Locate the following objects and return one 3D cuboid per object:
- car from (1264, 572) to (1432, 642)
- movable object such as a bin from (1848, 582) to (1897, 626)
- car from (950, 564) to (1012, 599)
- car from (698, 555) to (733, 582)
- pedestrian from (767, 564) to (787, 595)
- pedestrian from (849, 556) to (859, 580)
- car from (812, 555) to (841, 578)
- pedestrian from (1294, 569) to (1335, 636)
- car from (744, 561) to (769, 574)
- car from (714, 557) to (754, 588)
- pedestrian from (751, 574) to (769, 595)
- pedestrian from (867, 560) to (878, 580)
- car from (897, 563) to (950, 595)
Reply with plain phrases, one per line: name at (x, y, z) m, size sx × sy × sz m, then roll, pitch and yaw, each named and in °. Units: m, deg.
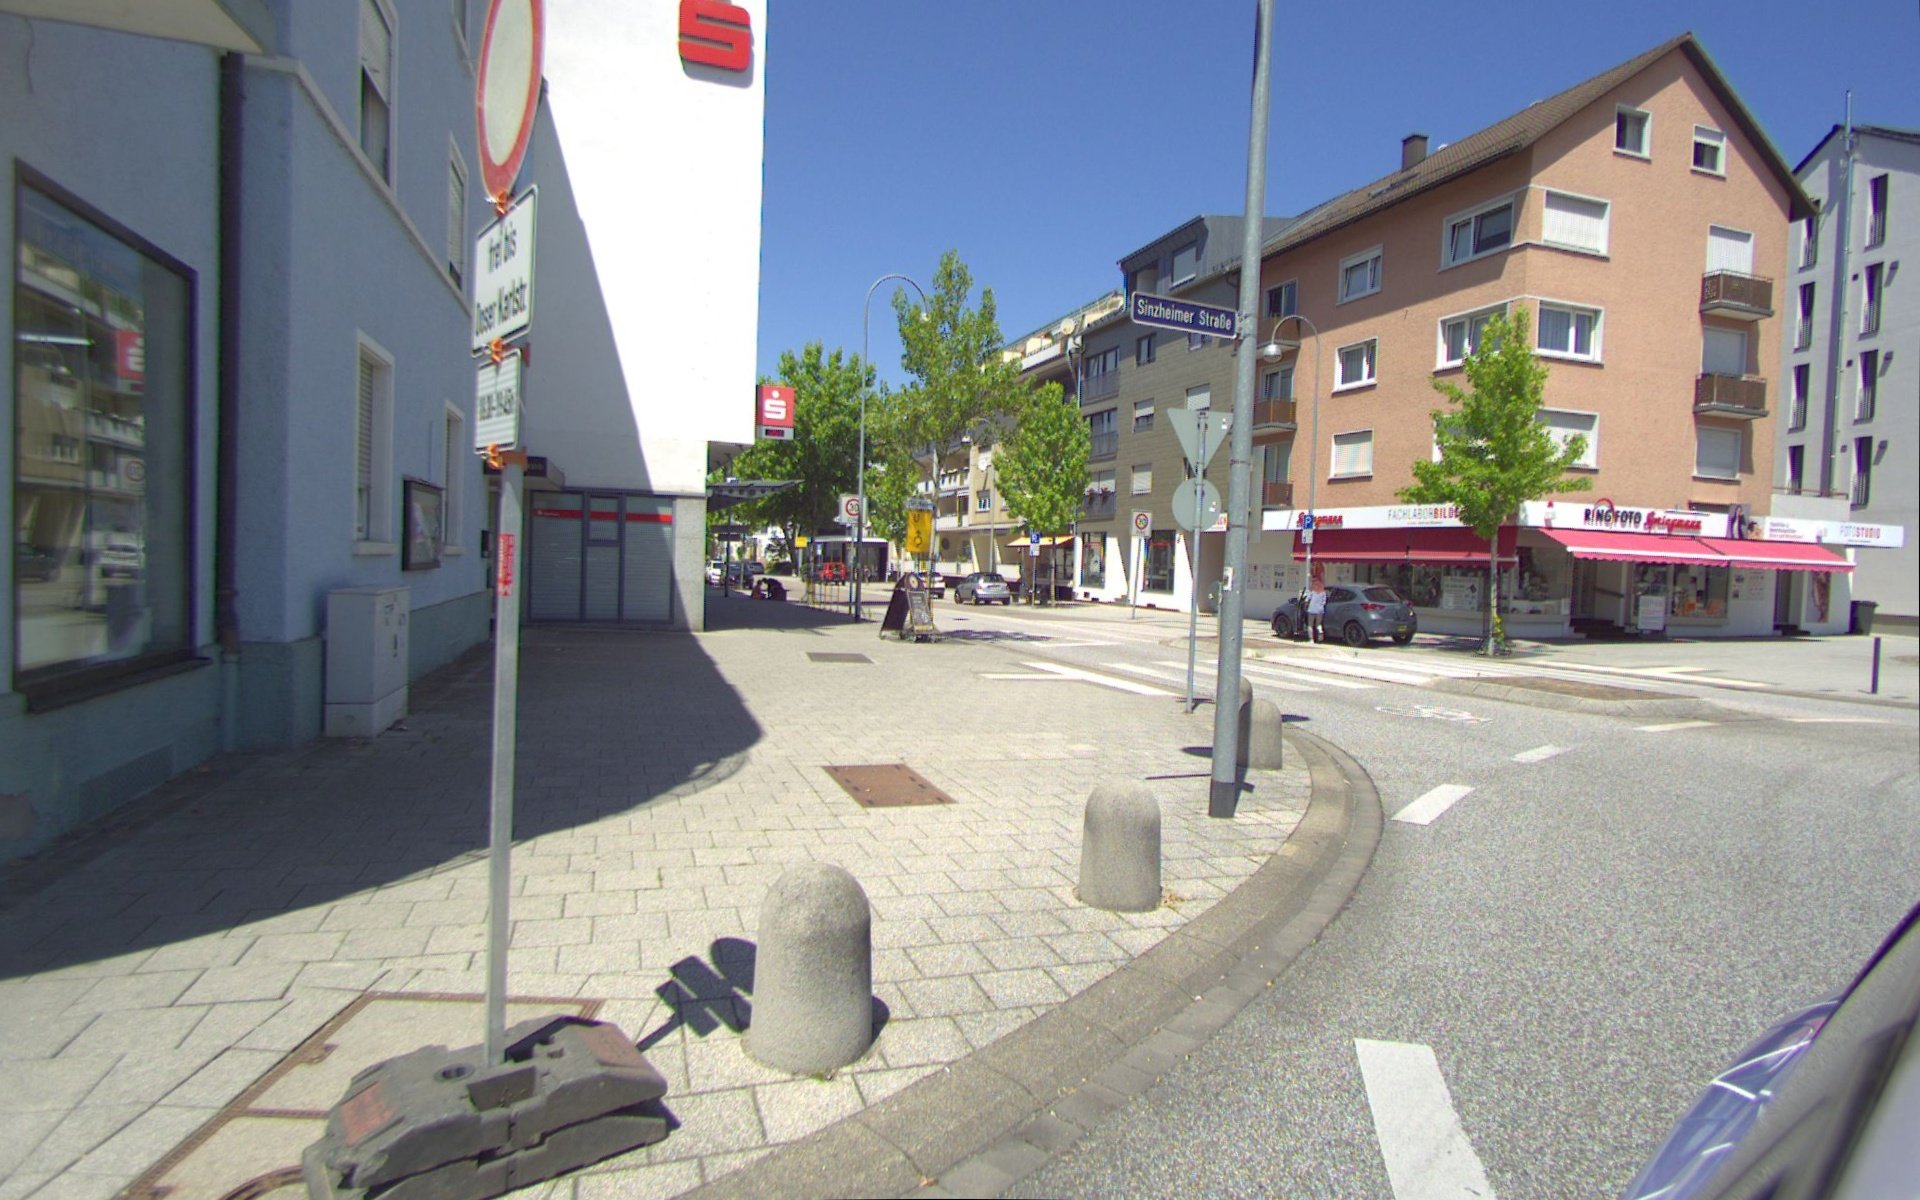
car at (9.719, 0.100, 25.682) m, size 1.638 × 1.504 × 4.070 m, roll -2°, pitch 3°, yaw -23°
movable object such as a bin at (27.622, 0.119, 30.639) m, size 0.819 × 1.268 × 0.749 m, roll 1°, pitch 1°, yaw -18°
car at (0.905, -0.852, 45.358) m, size 1.592 × 1.491 × 3.557 m, roll 1°, pitch 2°, yaw -19°
car at (-16.493, -2.149, 68.190) m, size 1.658 × 1.743 × 4.143 m, roll 1°, pitch 2°, yaw -22°
pedestrian at (-7.629, -0.853, 42.265) m, size 0.747 × 1.255 × 0.538 m, roll 2°, pitch 1°, yaw -5°
pedestrian at (-8.107, -2.437, 77.413) m, size 0.655 × 1.827 × 0.686 m, roll 1°, pitch 1°, yaw -5°
car at (-10.246, -2.607, 77.502) m, size 1.611 × 1.682 × 3.378 m, roll -1°, pitch 3°, yaw -19°
pedestrian at (8.794, 0.057, 25.121) m, size 0.719 × 1.630 × 0.560 m, roll 1°, pitch 1°, yaw -18°
car at (-23.388, -3.788, 116.410) m, size 1.958 × 1.437 × 4.009 m, roll 1°, pitch 2°, yaw -24°
car at (-14.085, -1.717, 62.940) m, size 1.658 × 1.743 × 4.009 m, roll 3°, pitch 1°, yaw -23°
pedestrian at (-8.389, -0.644, 42.502) m, size 0.666 × 0.862 × 0.539 m, roll 2°, pitch 2°, yaw -7°
pedestrian at (-6.765, -2.291, 78.237) m, size 0.763 × 1.517 × 0.698 m, roll 1°, pitch 1°, yaw -8°
car at (-2.035, -1.188, 55.333) m, size 1.665 × 1.611 × 4.310 m, roll 1°, pitch 2°, yaw -19°
